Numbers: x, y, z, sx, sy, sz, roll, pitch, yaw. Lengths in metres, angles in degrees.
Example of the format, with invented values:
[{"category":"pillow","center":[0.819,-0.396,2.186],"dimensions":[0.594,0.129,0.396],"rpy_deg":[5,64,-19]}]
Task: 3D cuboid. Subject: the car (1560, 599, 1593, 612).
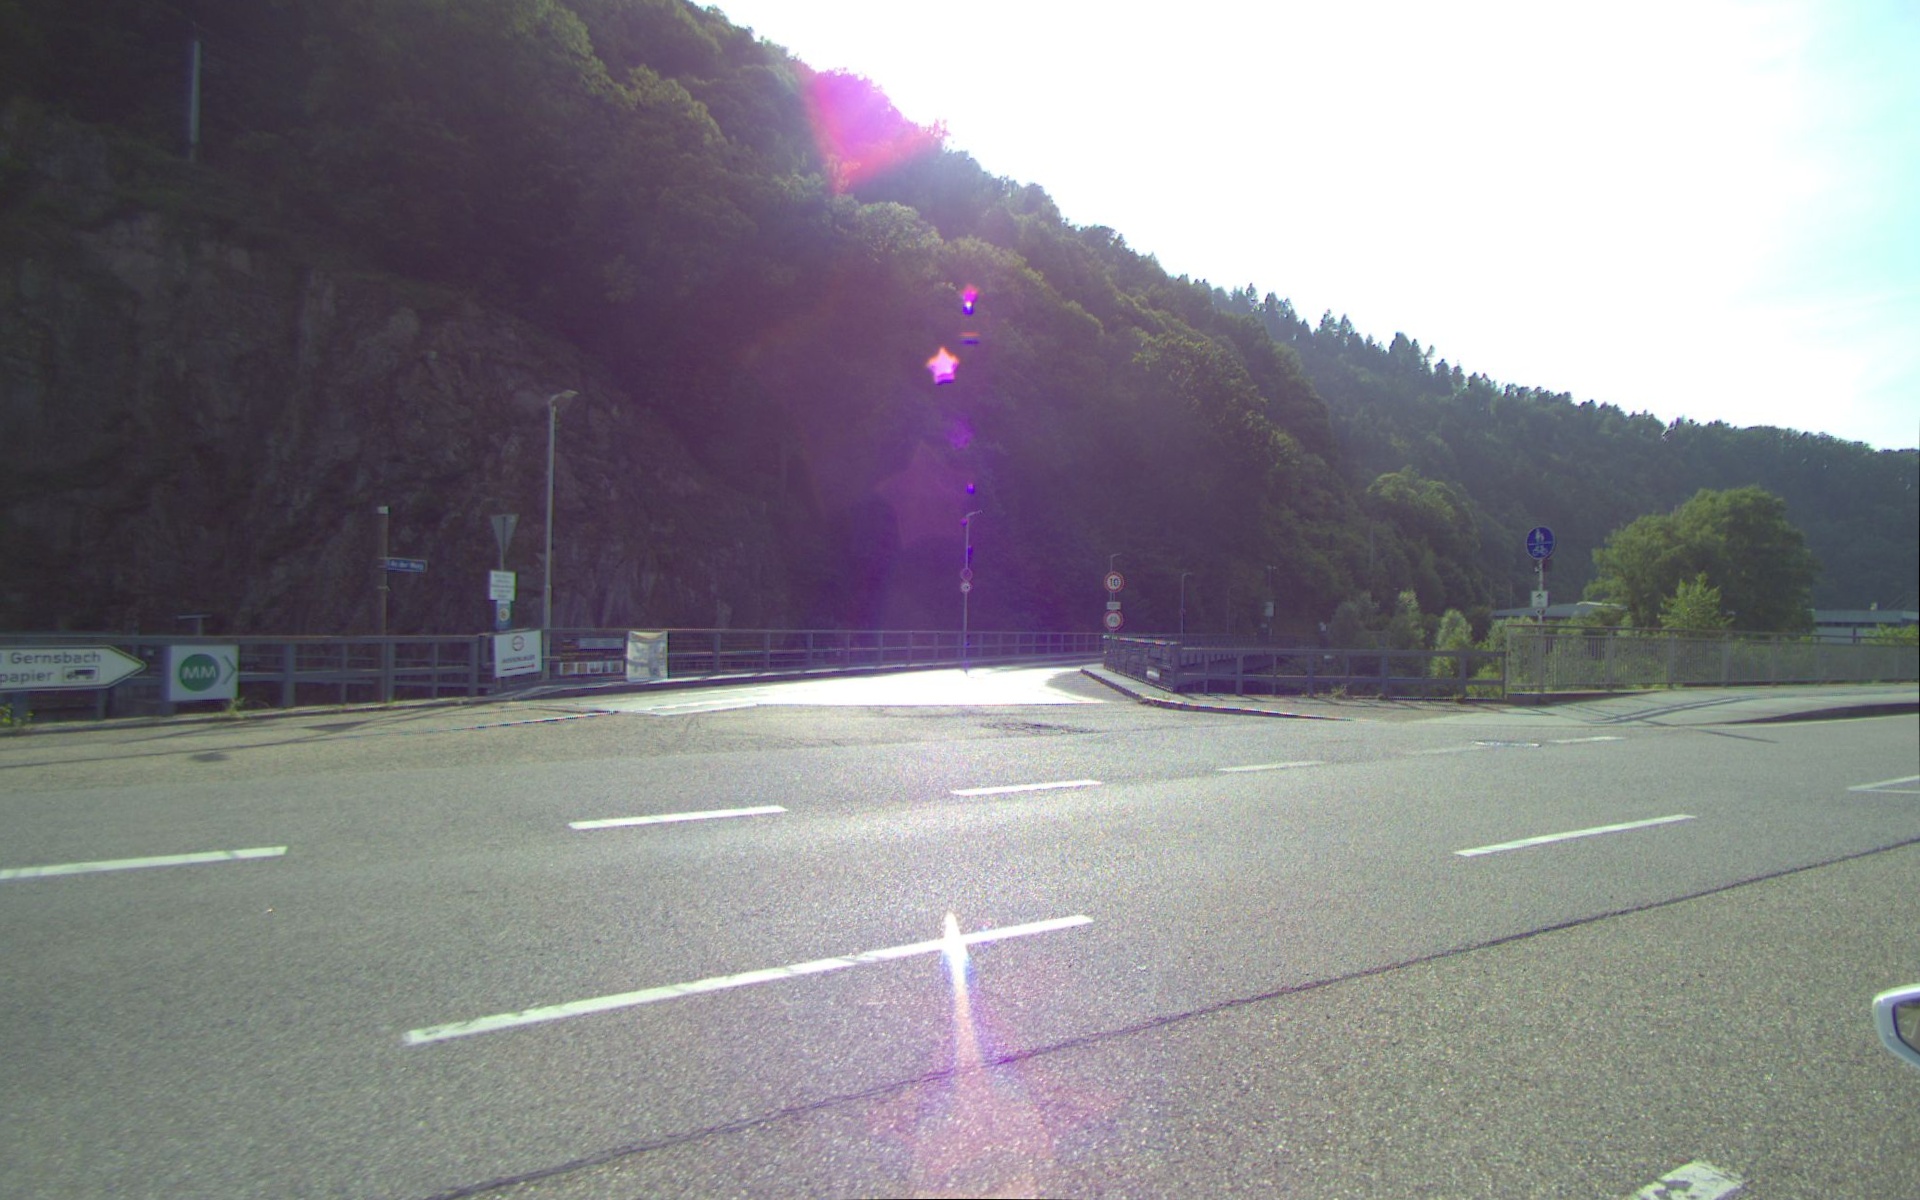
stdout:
[{"category":"car","center":[110.904,1.019,180.635],"dimensions":[1.978,2.040,4.712],"rpy_deg":[2,-3,-32]}]
